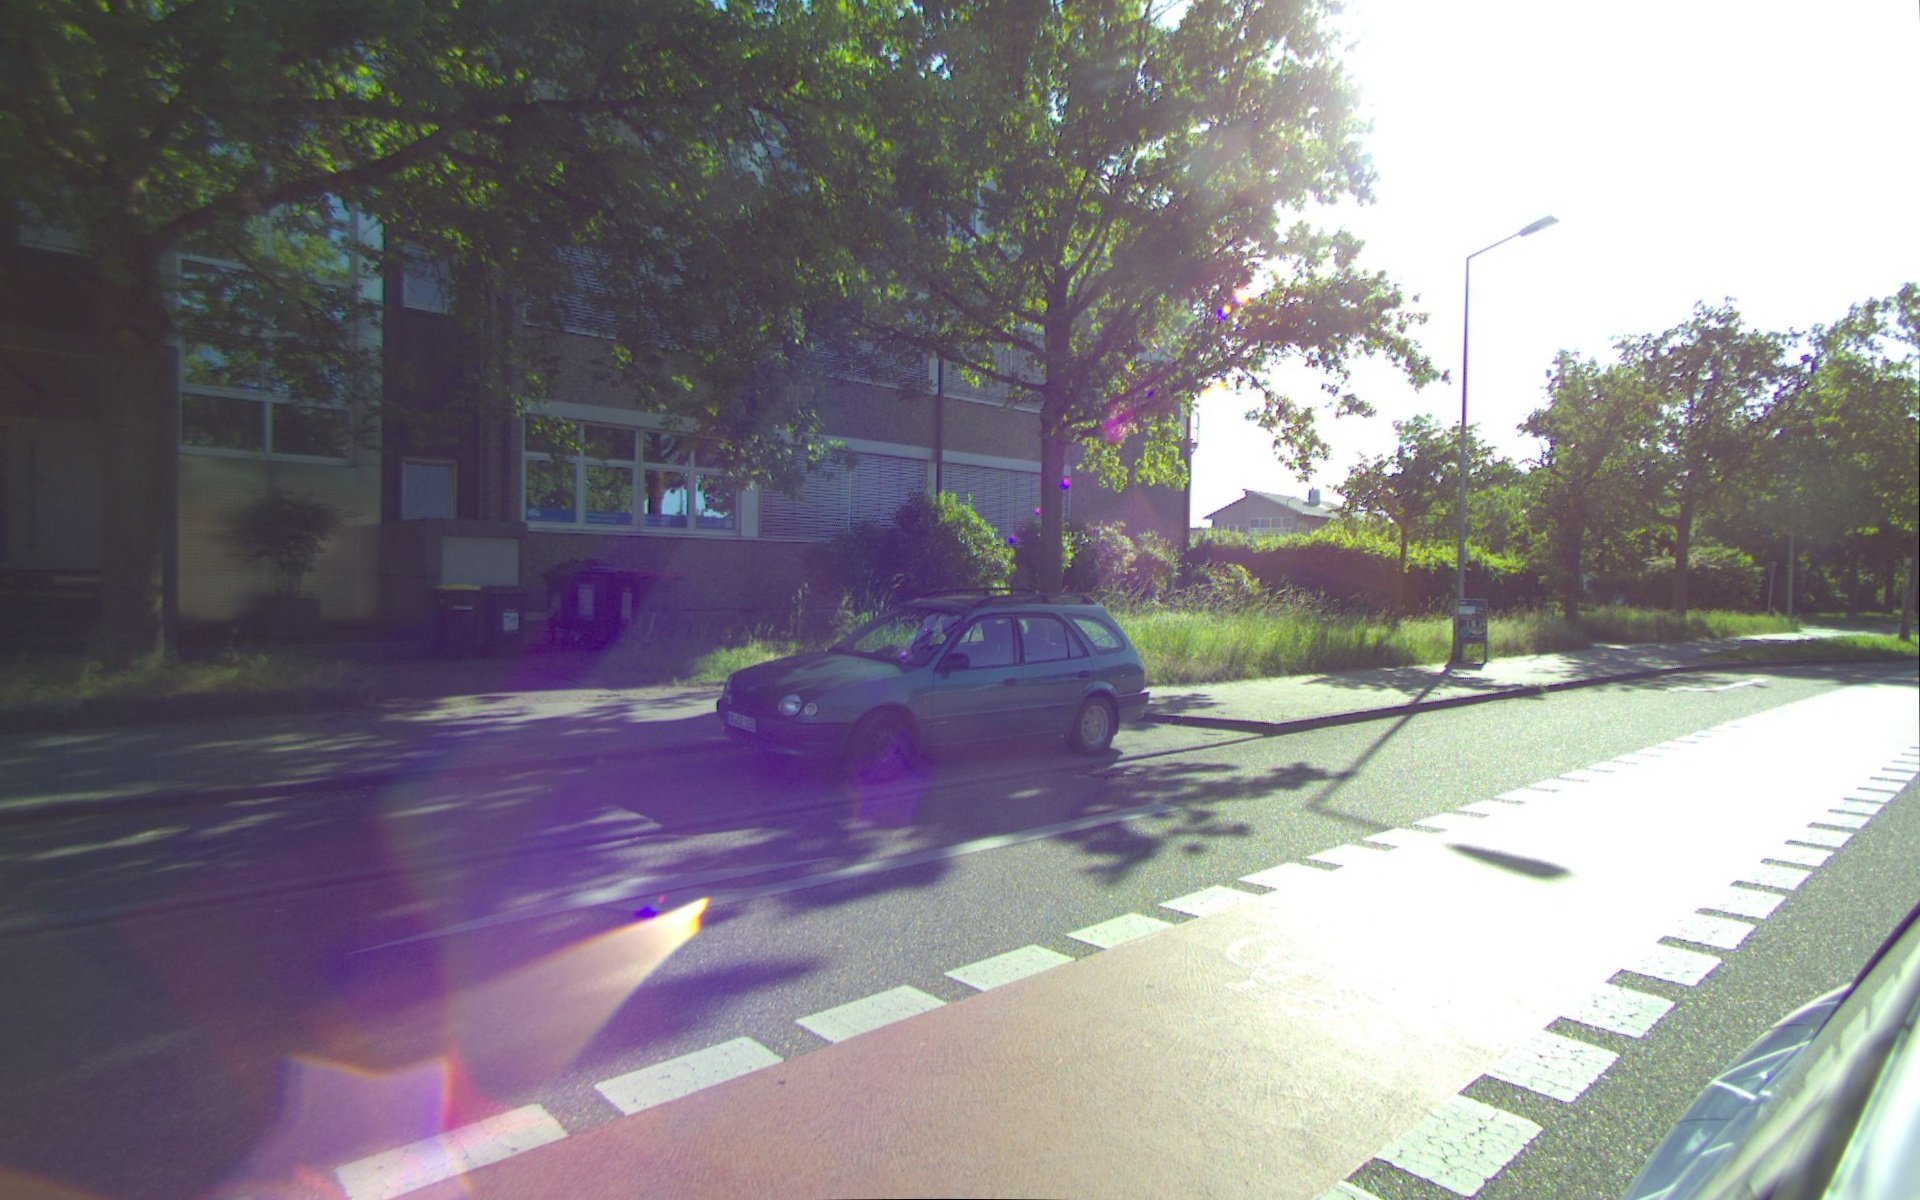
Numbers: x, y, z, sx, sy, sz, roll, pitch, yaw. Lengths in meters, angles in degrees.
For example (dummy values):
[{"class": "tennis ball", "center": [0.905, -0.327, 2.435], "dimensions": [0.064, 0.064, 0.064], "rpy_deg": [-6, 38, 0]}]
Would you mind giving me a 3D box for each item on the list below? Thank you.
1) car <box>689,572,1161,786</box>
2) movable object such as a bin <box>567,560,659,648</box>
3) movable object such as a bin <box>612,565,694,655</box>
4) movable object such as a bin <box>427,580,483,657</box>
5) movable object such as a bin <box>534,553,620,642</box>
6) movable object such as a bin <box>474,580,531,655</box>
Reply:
[{"class": "car", "center": [-0.155, 0.575, 9.122], "dimensions": [4.068, 1.487, 1.705], "rpy_deg": [1, 1, -41]}, {"class": "movable object such as a bin", "center": [-5.781, 0.046, 16.850], "dimensions": [1.070, 1.388, 1.186], "rpy_deg": [0, 2, -43]}, {"class": "movable object such as a bin", "center": [-4.791, 0.128, 15.763], "dimensions": [0.878, 1.323, 1.186], "rpy_deg": [0, 2, -37]}, {"class": "movable object such as a bin", "center": [-7.224, 0.248, 14.487], "dimensions": [0.575, 1.070, 0.625], "rpy_deg": [0, 1, -42]}, {"class": "movable object such as a bin", "center": [-6.790, -0.070, 17.931], "dimensions": [1.024, 1.501, 1.309], "rpy_deg": [0, 2, -41]}, {"class": "movable object such as a bin", "center": [-6.769, 0.243, 14.968], "dimensions": [0.604, 1.075, 0.634], "rpy_deg": [0, 1, -42]}]
